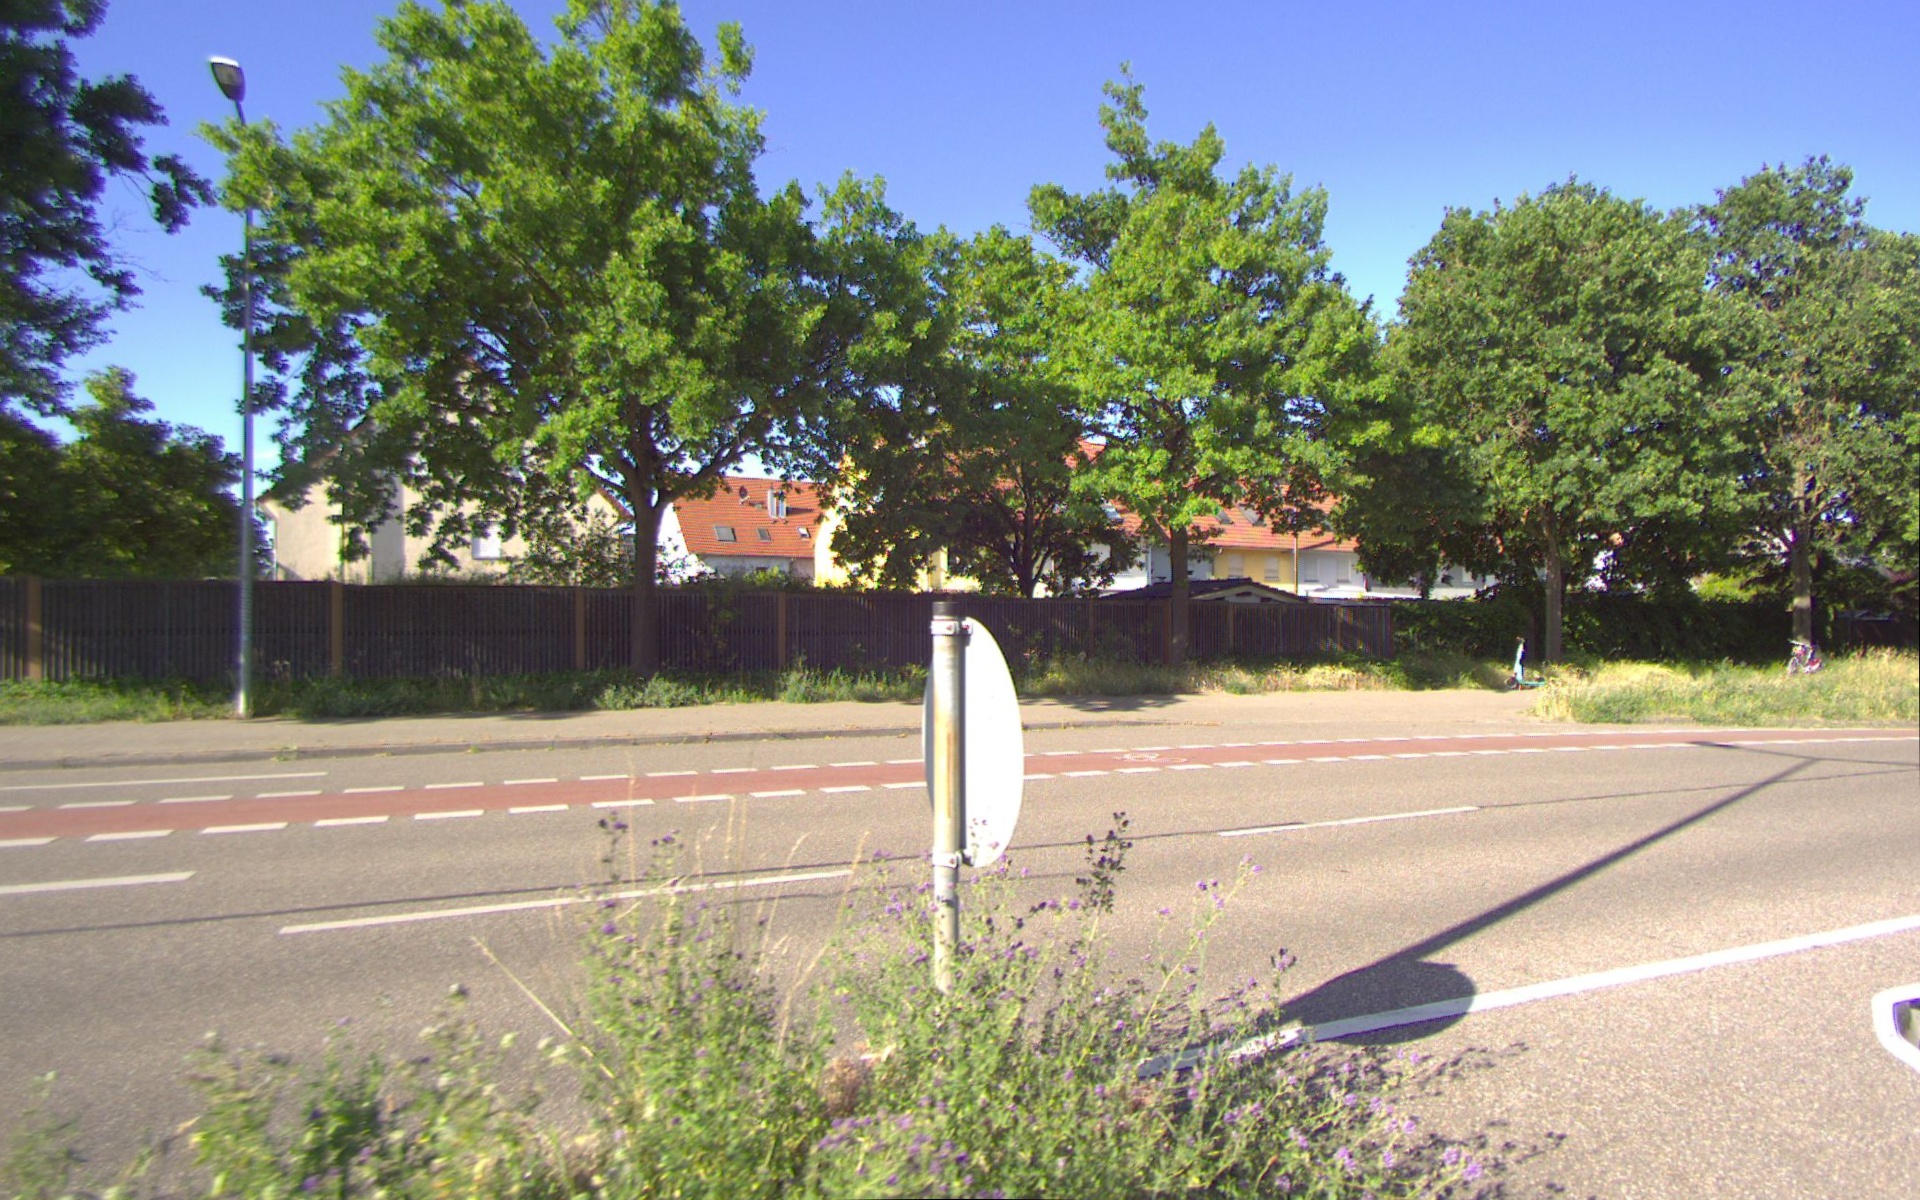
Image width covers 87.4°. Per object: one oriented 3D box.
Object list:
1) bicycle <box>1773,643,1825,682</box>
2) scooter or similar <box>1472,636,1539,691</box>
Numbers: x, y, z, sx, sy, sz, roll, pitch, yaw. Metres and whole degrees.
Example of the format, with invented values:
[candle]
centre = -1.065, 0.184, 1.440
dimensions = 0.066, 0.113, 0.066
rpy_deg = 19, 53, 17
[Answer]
[bicycle]
centre = 23.794, 1.753, 28.486
dimensions = 1.857, 1.067, 0.503
rpy_deg = 1, -1, -29
[scooter or similar]
centre = 13.008, 1.507, 23.948
dimensions = 1.389, 1.235, 0.539
rpy_deg = 0, 1, -13
